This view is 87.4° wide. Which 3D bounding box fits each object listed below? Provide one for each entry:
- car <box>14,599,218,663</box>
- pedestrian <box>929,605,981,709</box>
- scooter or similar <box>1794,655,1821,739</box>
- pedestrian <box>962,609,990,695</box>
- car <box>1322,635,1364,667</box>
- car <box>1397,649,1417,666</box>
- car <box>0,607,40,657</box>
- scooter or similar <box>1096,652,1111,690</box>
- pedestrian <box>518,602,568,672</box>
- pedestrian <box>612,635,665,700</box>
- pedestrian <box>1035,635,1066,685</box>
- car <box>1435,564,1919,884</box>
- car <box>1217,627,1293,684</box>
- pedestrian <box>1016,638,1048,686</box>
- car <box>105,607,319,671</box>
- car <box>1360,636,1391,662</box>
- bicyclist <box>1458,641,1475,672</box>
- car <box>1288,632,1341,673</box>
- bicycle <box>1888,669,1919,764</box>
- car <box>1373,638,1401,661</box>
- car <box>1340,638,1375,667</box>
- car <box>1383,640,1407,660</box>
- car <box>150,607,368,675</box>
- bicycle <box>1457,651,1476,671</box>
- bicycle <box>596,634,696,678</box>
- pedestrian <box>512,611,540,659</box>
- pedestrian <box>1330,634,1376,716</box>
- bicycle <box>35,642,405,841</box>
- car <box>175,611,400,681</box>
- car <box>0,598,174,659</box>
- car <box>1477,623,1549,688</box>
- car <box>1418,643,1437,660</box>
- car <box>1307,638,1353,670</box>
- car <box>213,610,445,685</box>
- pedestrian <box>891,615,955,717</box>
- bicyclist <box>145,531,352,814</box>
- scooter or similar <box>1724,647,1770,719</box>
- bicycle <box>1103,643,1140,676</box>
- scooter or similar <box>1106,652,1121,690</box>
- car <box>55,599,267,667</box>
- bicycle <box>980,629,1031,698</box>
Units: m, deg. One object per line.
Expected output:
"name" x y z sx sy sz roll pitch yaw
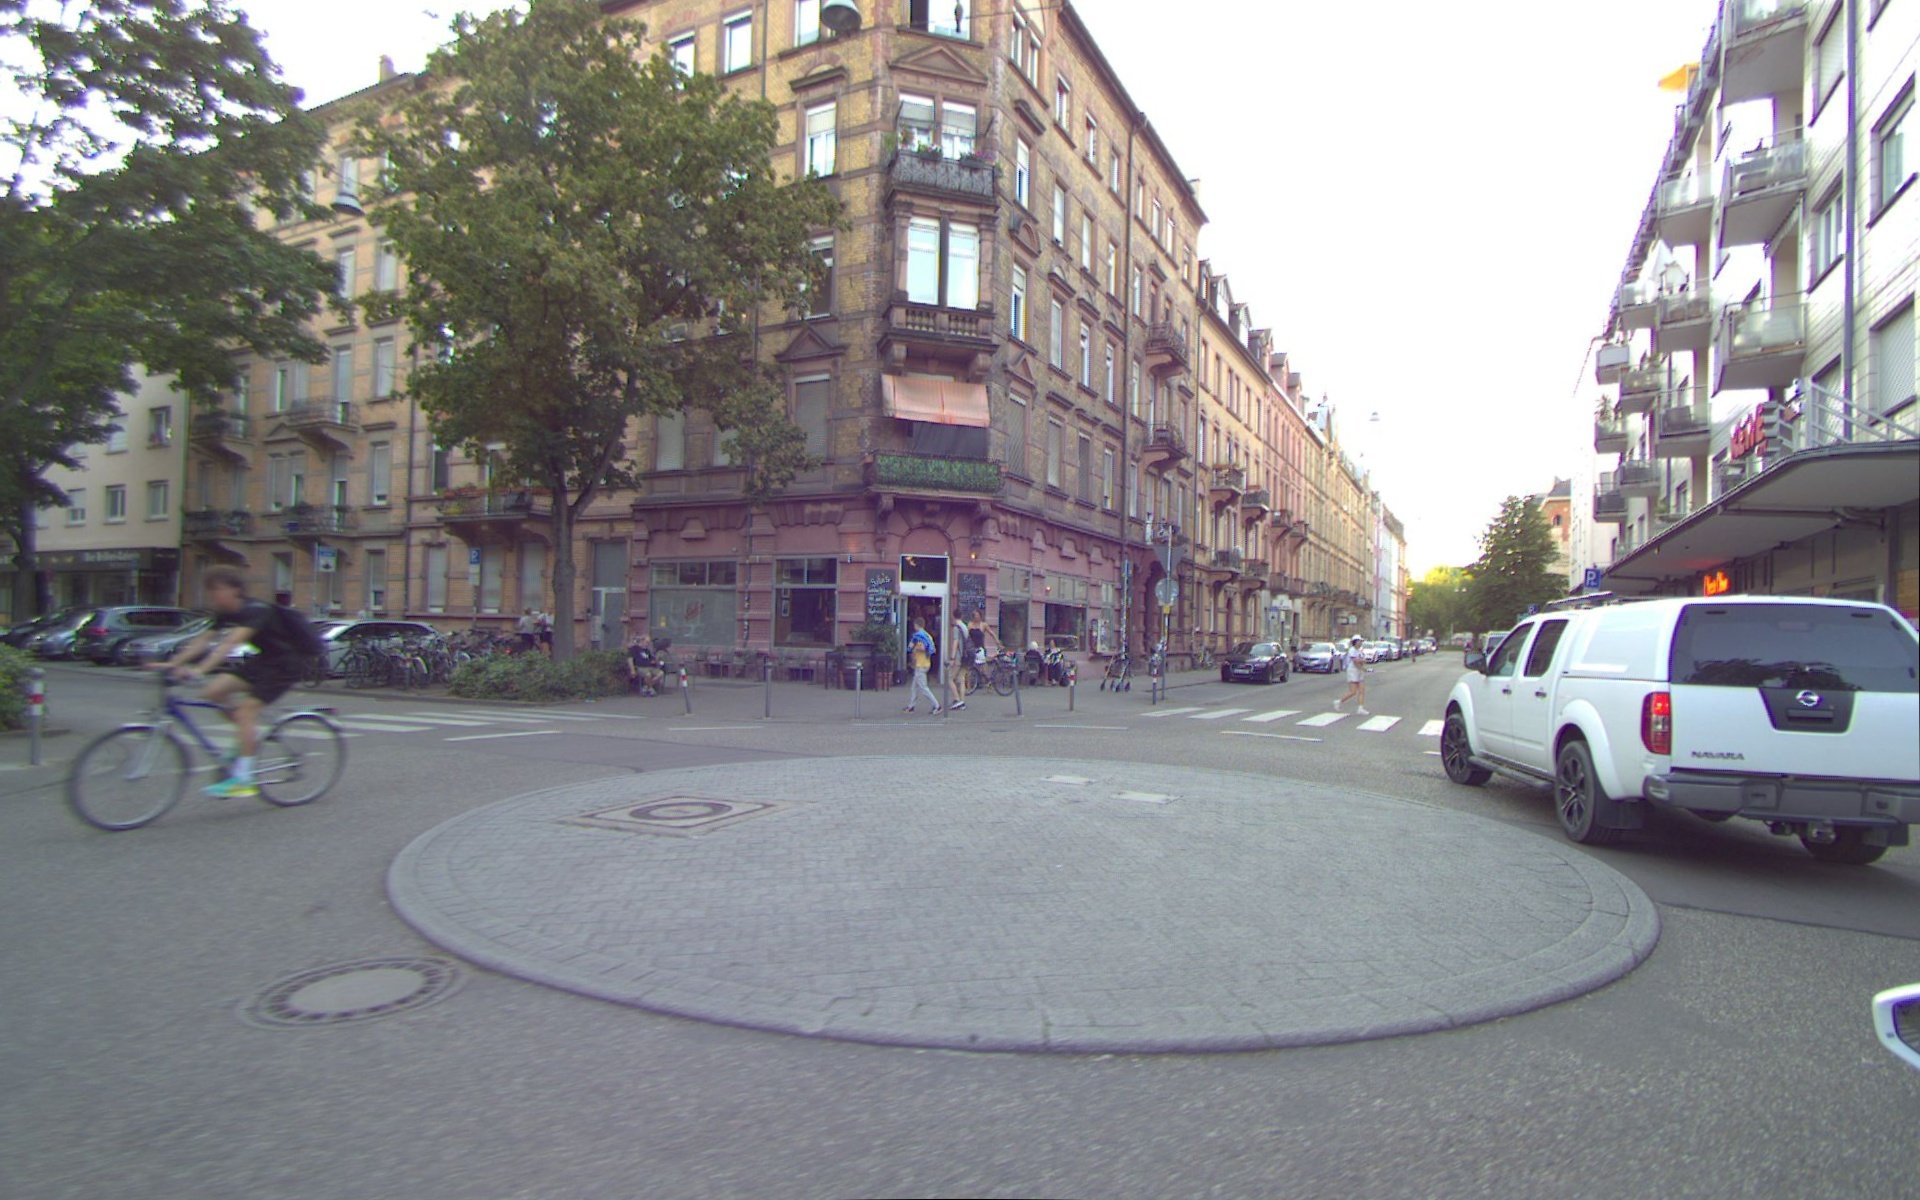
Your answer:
"car" -26.568 1.012 31.815 1.963 1.822 4.492 2 -2 27
"pedestrian" -0.101 1.070 19.098 0.889 1.909 0.616 3 -1 -3
"scooter or similar" 13.460 1.521 15.959 0.216 1.254 0.963 2 0 35
"pedestrian" 0.355 1.146 22.367 0.495 1.864 0.573 3 -1 5
"car" 22.164 2.947 58.016 1.806 1.700 4.033 2 -2 27
"car" 49.585 6.347 111.398 1.806 1.773 3.996 2 -2 27
"car" -37.243 1.125 37.001 1.963 1.822 4.492 2 -2 27
"scooter or similar" 3.775 1.845 26.404 0.229 0.941 1.266 3 -1 3
"pedestrian" -10.686 0.944 25.750 0.905 1.747 0.667 2 -1 27
"pedestrian" -6.628 1.382 20.717 0.742 1.279 0.667 2 -1 27
"pedestrian" 2.446 1.613 27.135 0.638 1.302 0.539 2 -1 24
"car" 5.619 0.830 8.389 1.905 1.834 5.005 1 -2 13
"car" 10.411 1.925 35.224 1.806 1.773 3.996 2 -2 27
"pedestrian" 1.873 1.603 26.097 0.638 1.206 0.539 2 -1 24
"car" -21.356 1.133 28.900 1.963 1.599 4.492 2 -2 27
"car" 31.224 3.685 75.419 1.806 1.773 3.996 2 -2 27
"bicyclist" 33.132 3.683 65.693 0.824 1.969 0.785 2 -1 19
"car" 16.867 2.497 47.679 1.806 1.773 4.158 2 -2 27
"bicycle" 11.745 1.416 12.180 0.284 1.127 0.967 2 -1 15
"car" 34.957 4.033 82.261 1.806 1.773 3.996 2 -2 27
"car" 26.637 3.521 67.229 1.806 1.773 3.996 2 -2 27
"car" 41.220 4.709 95.052 1.806 1.773 3.996 2 -2 27
"car" -19.167 1.146 27.714 1.963 1.641 4.492 2 -2 27
"bicycle" 33.148 3.977 65.775 0.824 1.187 1.936 2 -2 18
"bicycle" -8.271 1.449 26.380 2.852 0.971 0.625 2 -1 27
"pedestrian" -12.071 0.976 27.930 0.570 1.279 0.451 4 -2 -38
"pedestrian" 8.323 1.562 21.247 0.785 1.642 0.944 2 -1 26
"bicycle" -5.217 0.928 7.248 0.825 1.187 1.933 2 -2 28
"car" -17.481 1.216 26.375 1.963 1.599 4.492 2 -2 27
"car" -29.023 0.970 33.045 1.963 1.822 4.492 2 -2 27
"car" 18.458 1.849 33.694 1.913 1.959 3.996 2 -2 27
"car" 54.568 6.012 117.175 1.806 1.773 3.996 2 -2 27
"car" 19.768 2.868 53.581 1.806 1.567 4.033 2 -2 27
"car" -15.549 1.181 25.045 1.963 1.599 4.492 2 -2 27
"pedestrian" -0.674 1.183 18.260 0.891 1.759 0.614 2 -1 35
"bicyclist" -5.162 0.492 7.319 0.826 1.900 0.877 2 -1 30
"scooter or similar" 15.231 1.591 19.463 0.433 1.307 1.665 2 -2 30
"bicycle" 5.391 1.981 33.506 0.381 1.050 2.479 2 -2 28
"scooter or similar" 4.033 1.858 26.394 0.229 0.941 1.266 3 -1 3
"car" -23.725 1.013 30.025 1.963 1.822 4.492 2 -2 27
"bicycle" 1.031 1.404 22.390 0.417 1.461 1.904 2 -2 23
